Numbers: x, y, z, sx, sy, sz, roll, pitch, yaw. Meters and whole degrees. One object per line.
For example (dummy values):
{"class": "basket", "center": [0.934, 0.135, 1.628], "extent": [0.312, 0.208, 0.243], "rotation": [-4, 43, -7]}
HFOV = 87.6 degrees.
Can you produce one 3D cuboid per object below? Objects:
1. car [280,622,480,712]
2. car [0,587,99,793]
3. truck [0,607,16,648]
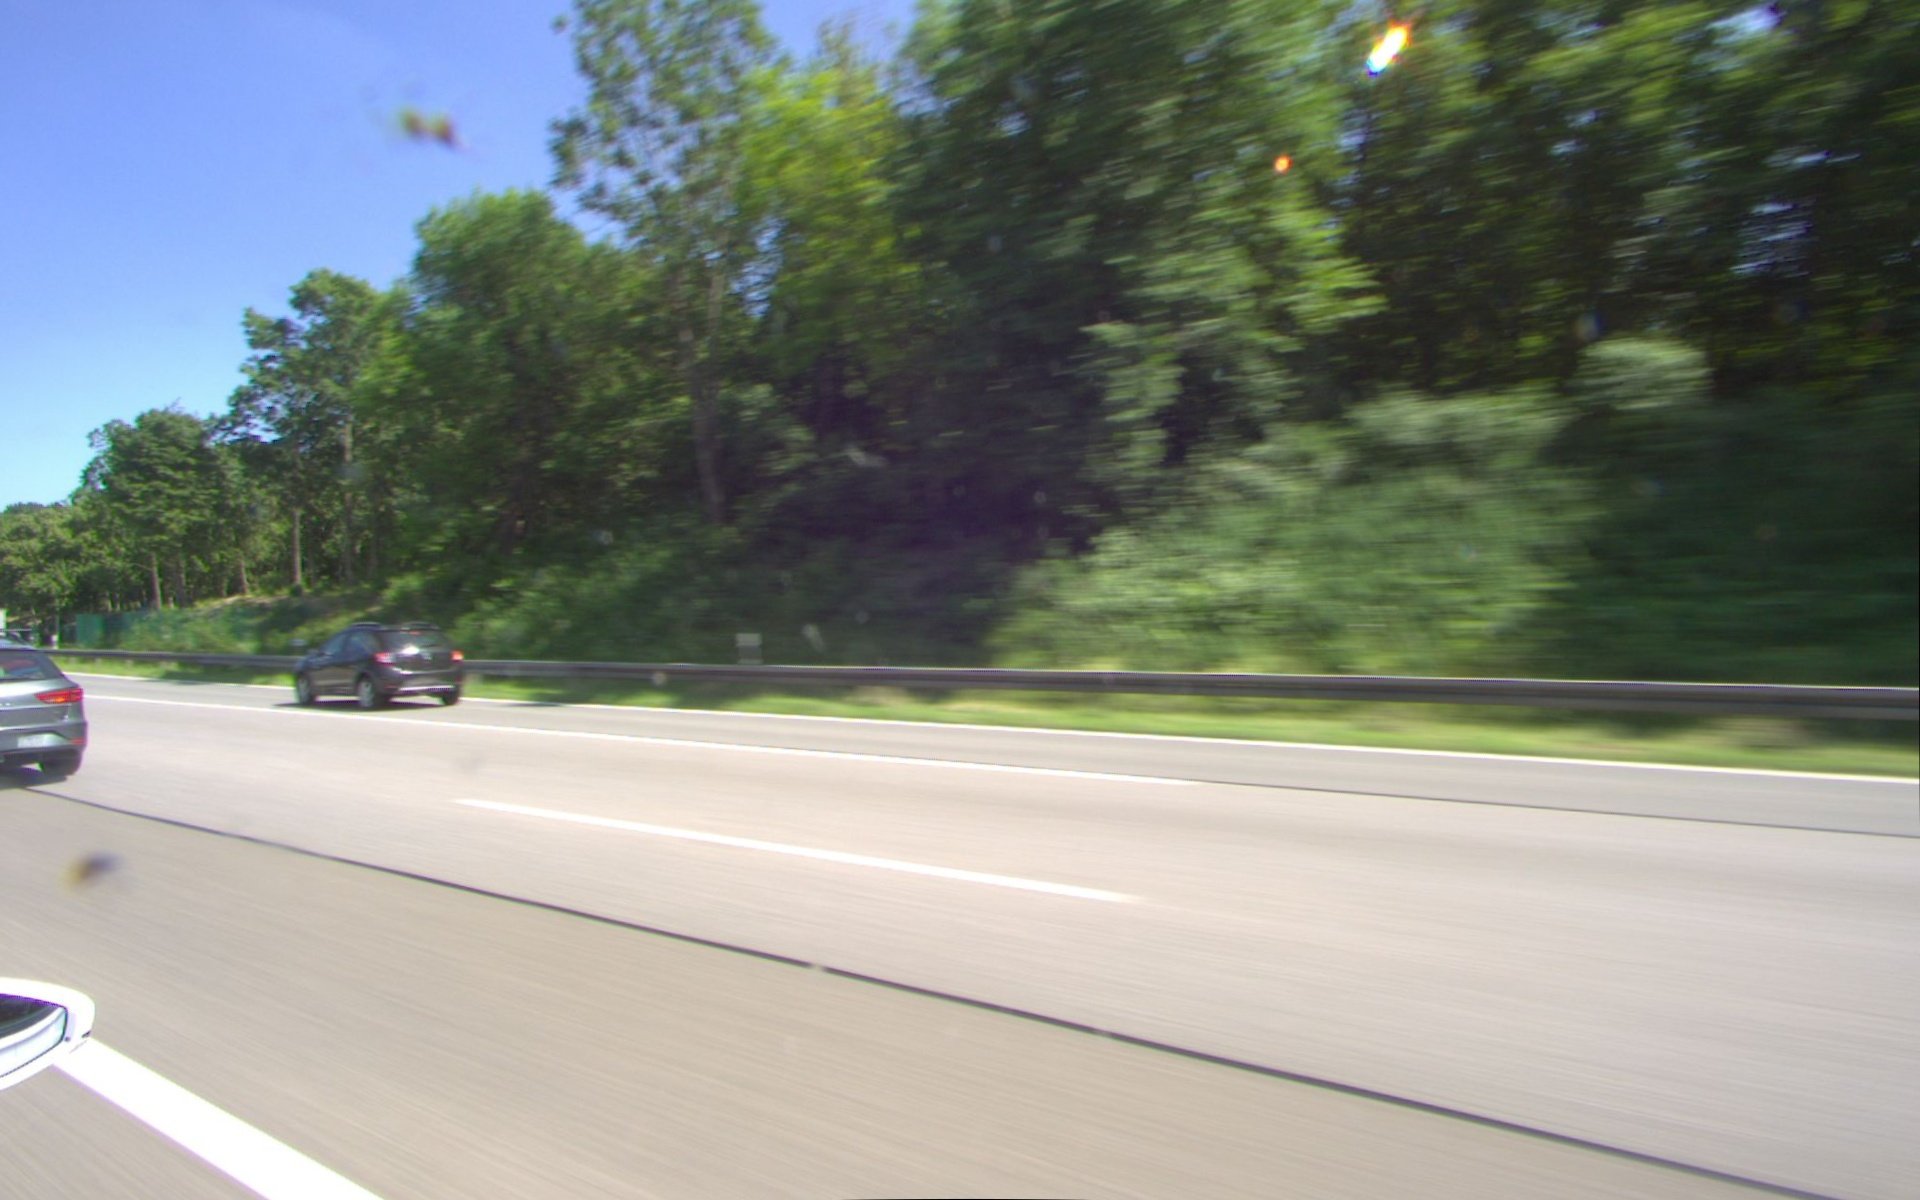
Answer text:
{"class": "car", "center": [-11.412, 1.239, 19.619], "extent": [4.200, 1.588, 1.761], "rotation": [-1, -2, 34]}
{"class": "car", "center": [-10.947, 0.872, 10.421], "extent": [4.758, 1.901, 1.661], "rotation": [-1, 1, 32]}
{"class": "truck", "center": [-97.127, 2.776, 100.170], "extent": [9.249, 3.999, 3.267], "rotation": [-1, 0, 43]}
